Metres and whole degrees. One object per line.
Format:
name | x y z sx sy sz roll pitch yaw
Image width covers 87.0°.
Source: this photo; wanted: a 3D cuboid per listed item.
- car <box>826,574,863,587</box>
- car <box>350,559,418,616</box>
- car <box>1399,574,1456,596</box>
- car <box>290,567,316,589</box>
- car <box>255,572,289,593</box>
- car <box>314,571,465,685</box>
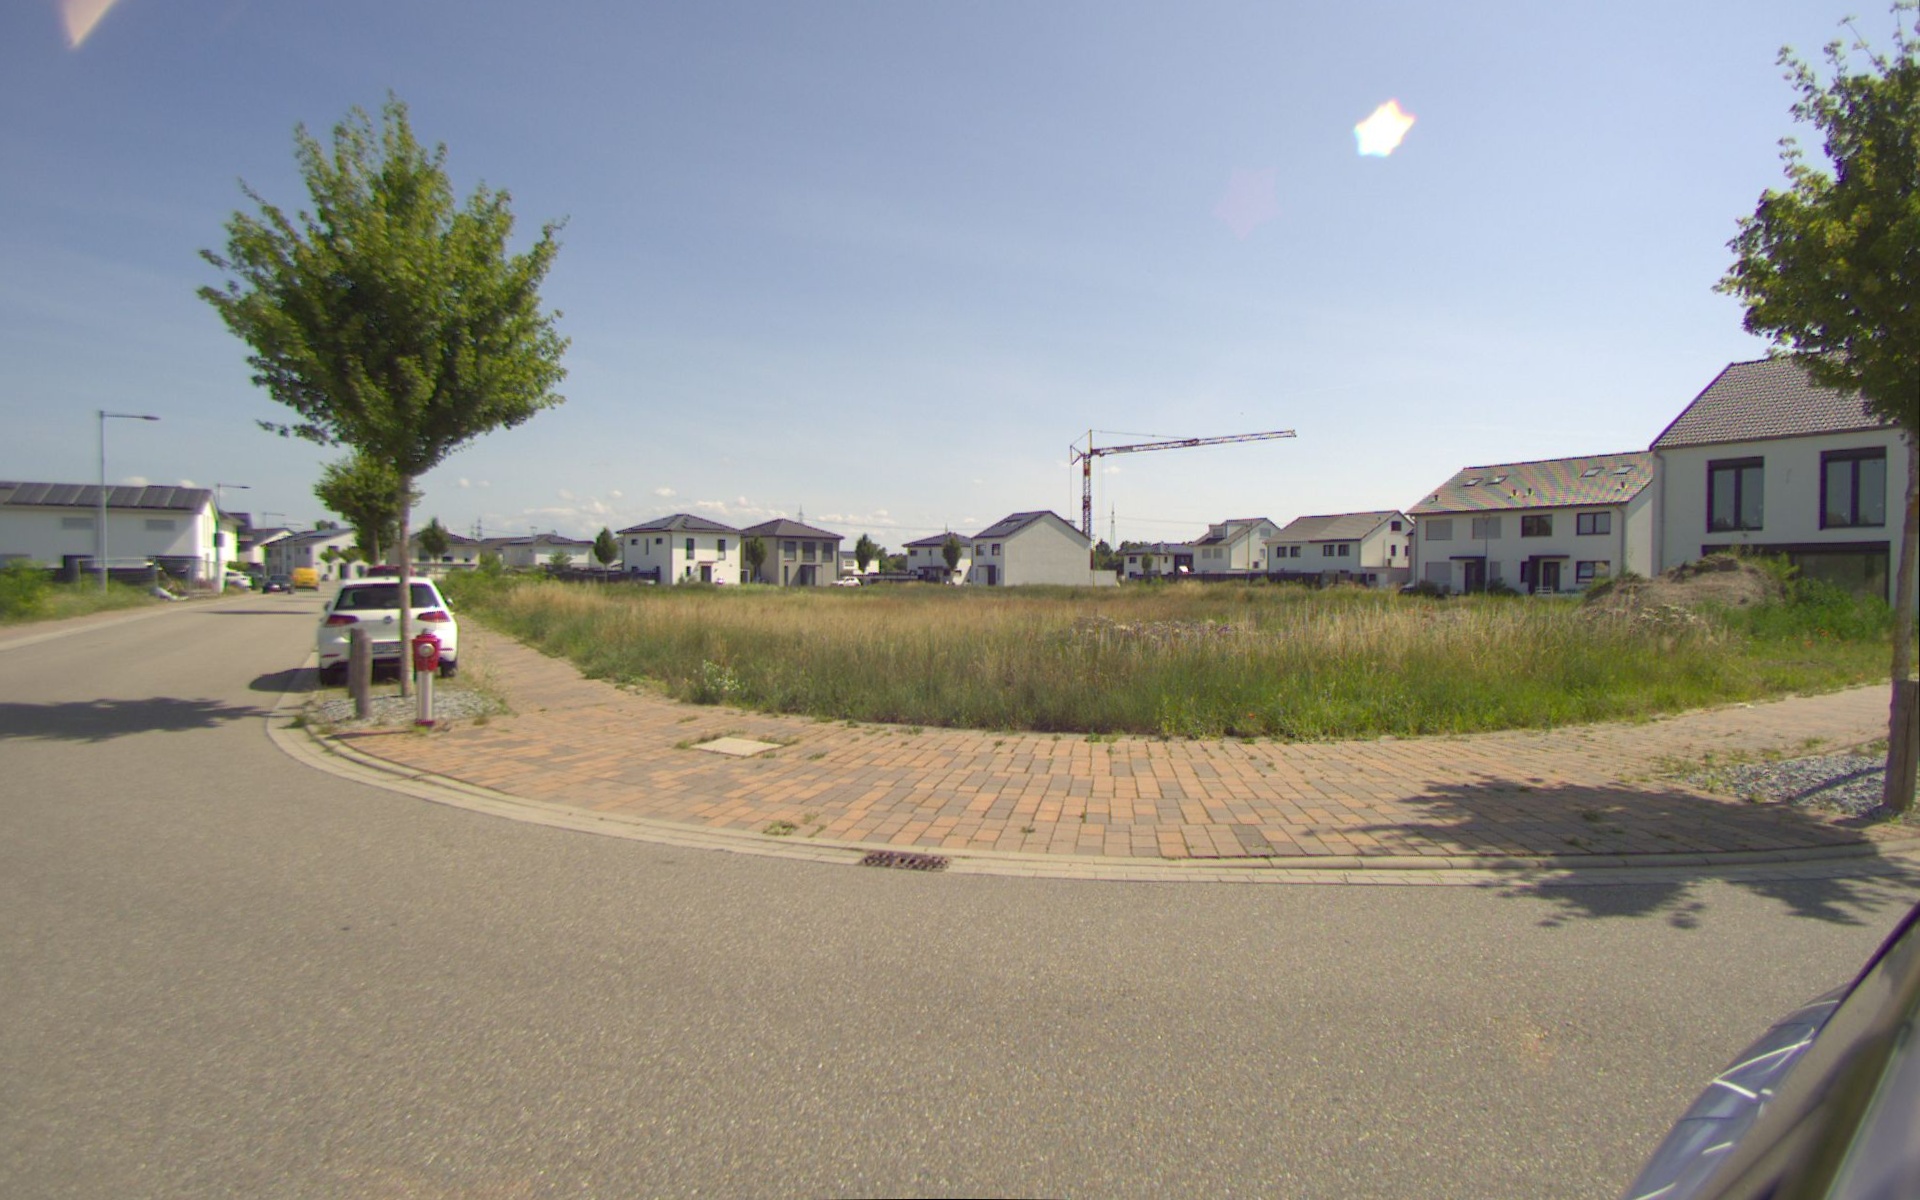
car | -13.098 -2.219 114.429 3.934 1.416 1.746 -1 1 -44
car | -18.527 -0.464 32.487 1.748 1.683 4.438 -2 3 -31
car | 34.373 -1.136 74.395 3.918 1.593 1.818 0 1 -27
car | -59.689 -1.980 91.975 1.910 2.006 4.218 0 0 -34
car | -50.402 -1.317 74.210 1.716 1.422 4.164 2 0 -31
car | -8.773 0.303 15.576 1.746 1.437 4.171 -2 3 -30
